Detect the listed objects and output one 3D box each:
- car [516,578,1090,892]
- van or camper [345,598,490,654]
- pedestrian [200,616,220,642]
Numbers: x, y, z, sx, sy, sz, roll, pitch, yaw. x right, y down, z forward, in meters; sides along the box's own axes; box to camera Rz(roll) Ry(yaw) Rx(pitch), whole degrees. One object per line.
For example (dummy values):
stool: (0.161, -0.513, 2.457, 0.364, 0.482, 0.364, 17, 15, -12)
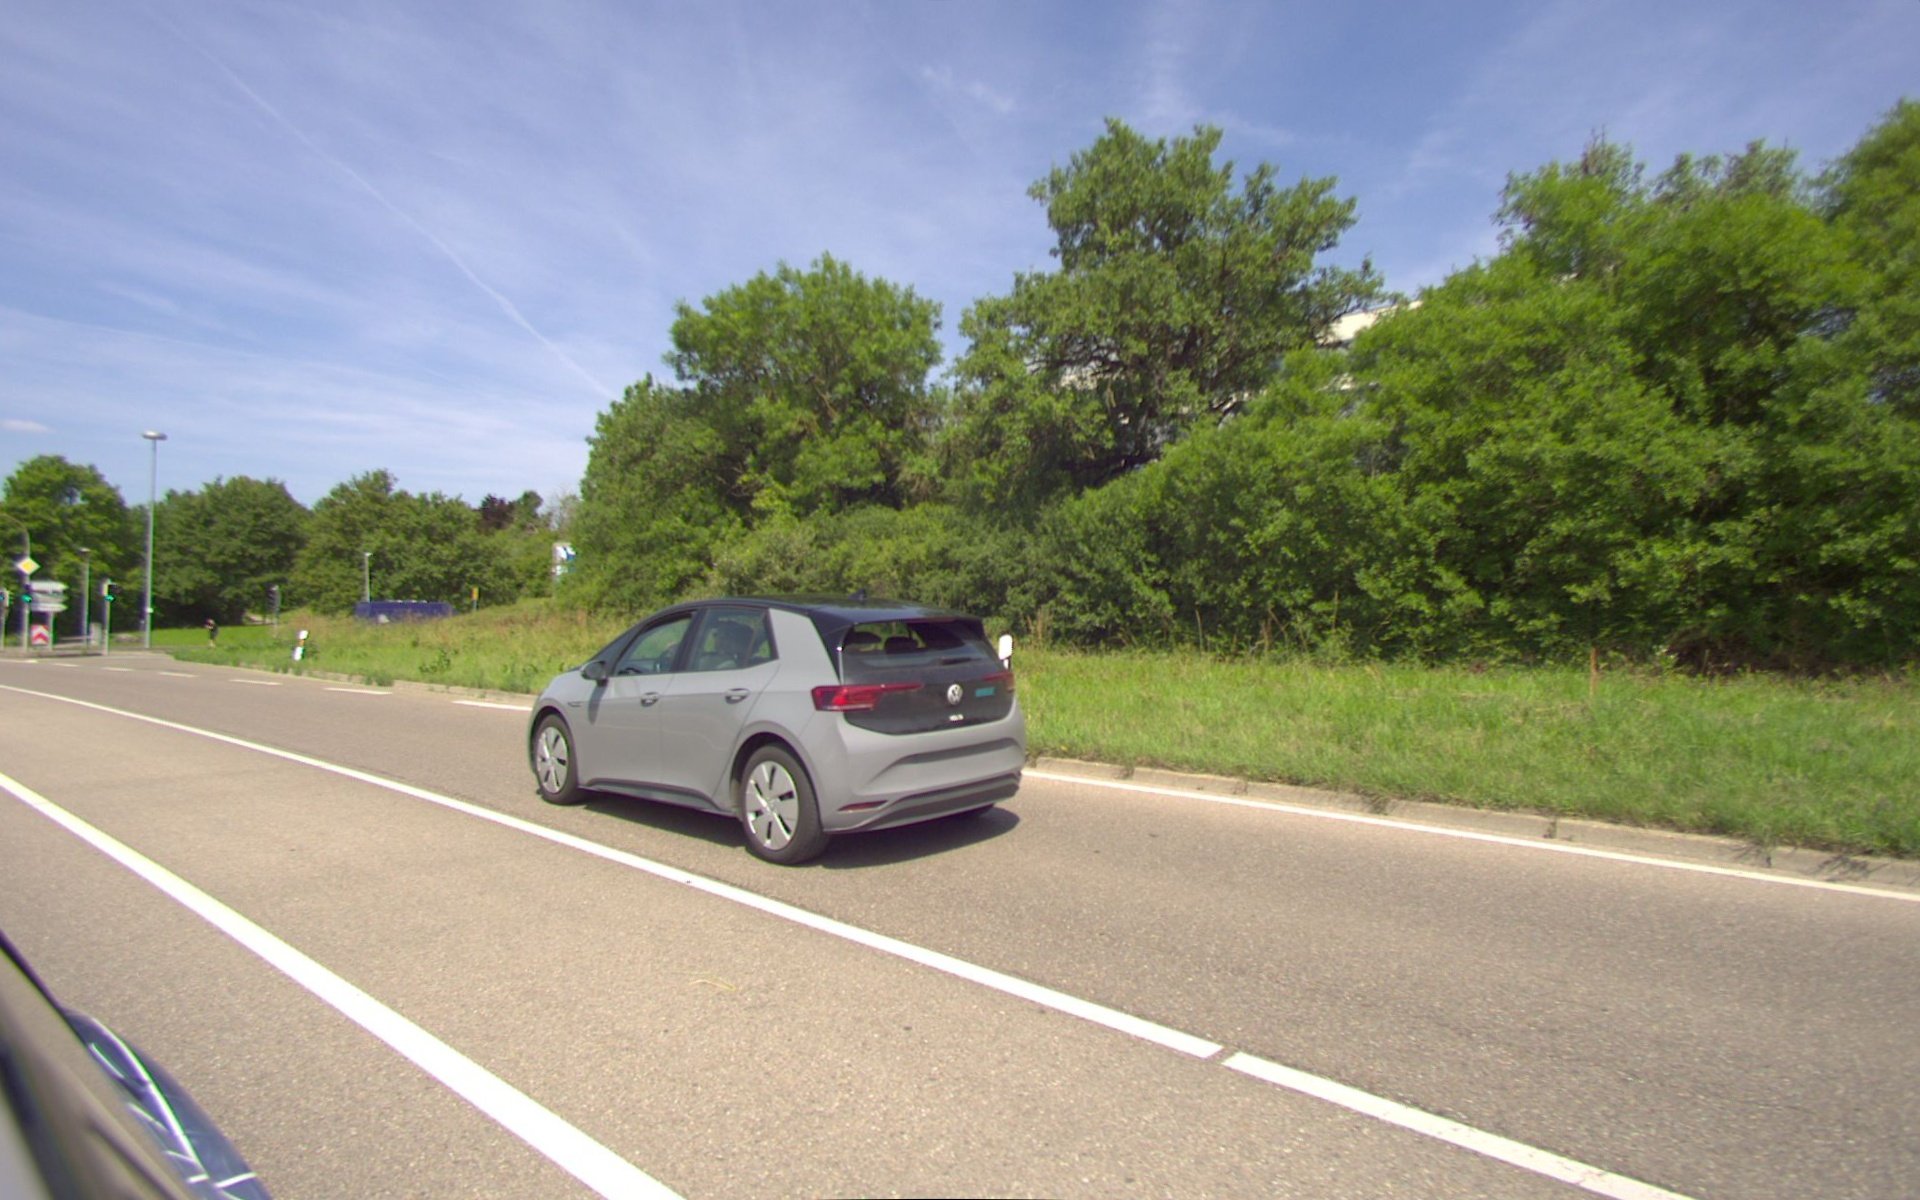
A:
car: (-1.332, 0.691, 7.101, 4.228, 1.546, 1.735, -1, 0, 43)
van or camper: (-31.494, 1.606, 59.067, 2.242, 2.936, 7.160, -3, -5, 35)
pedestrian: (-51.374, 1.966, 69.341, 0.906, 1.749, 0.902, -1, 0, -23)
